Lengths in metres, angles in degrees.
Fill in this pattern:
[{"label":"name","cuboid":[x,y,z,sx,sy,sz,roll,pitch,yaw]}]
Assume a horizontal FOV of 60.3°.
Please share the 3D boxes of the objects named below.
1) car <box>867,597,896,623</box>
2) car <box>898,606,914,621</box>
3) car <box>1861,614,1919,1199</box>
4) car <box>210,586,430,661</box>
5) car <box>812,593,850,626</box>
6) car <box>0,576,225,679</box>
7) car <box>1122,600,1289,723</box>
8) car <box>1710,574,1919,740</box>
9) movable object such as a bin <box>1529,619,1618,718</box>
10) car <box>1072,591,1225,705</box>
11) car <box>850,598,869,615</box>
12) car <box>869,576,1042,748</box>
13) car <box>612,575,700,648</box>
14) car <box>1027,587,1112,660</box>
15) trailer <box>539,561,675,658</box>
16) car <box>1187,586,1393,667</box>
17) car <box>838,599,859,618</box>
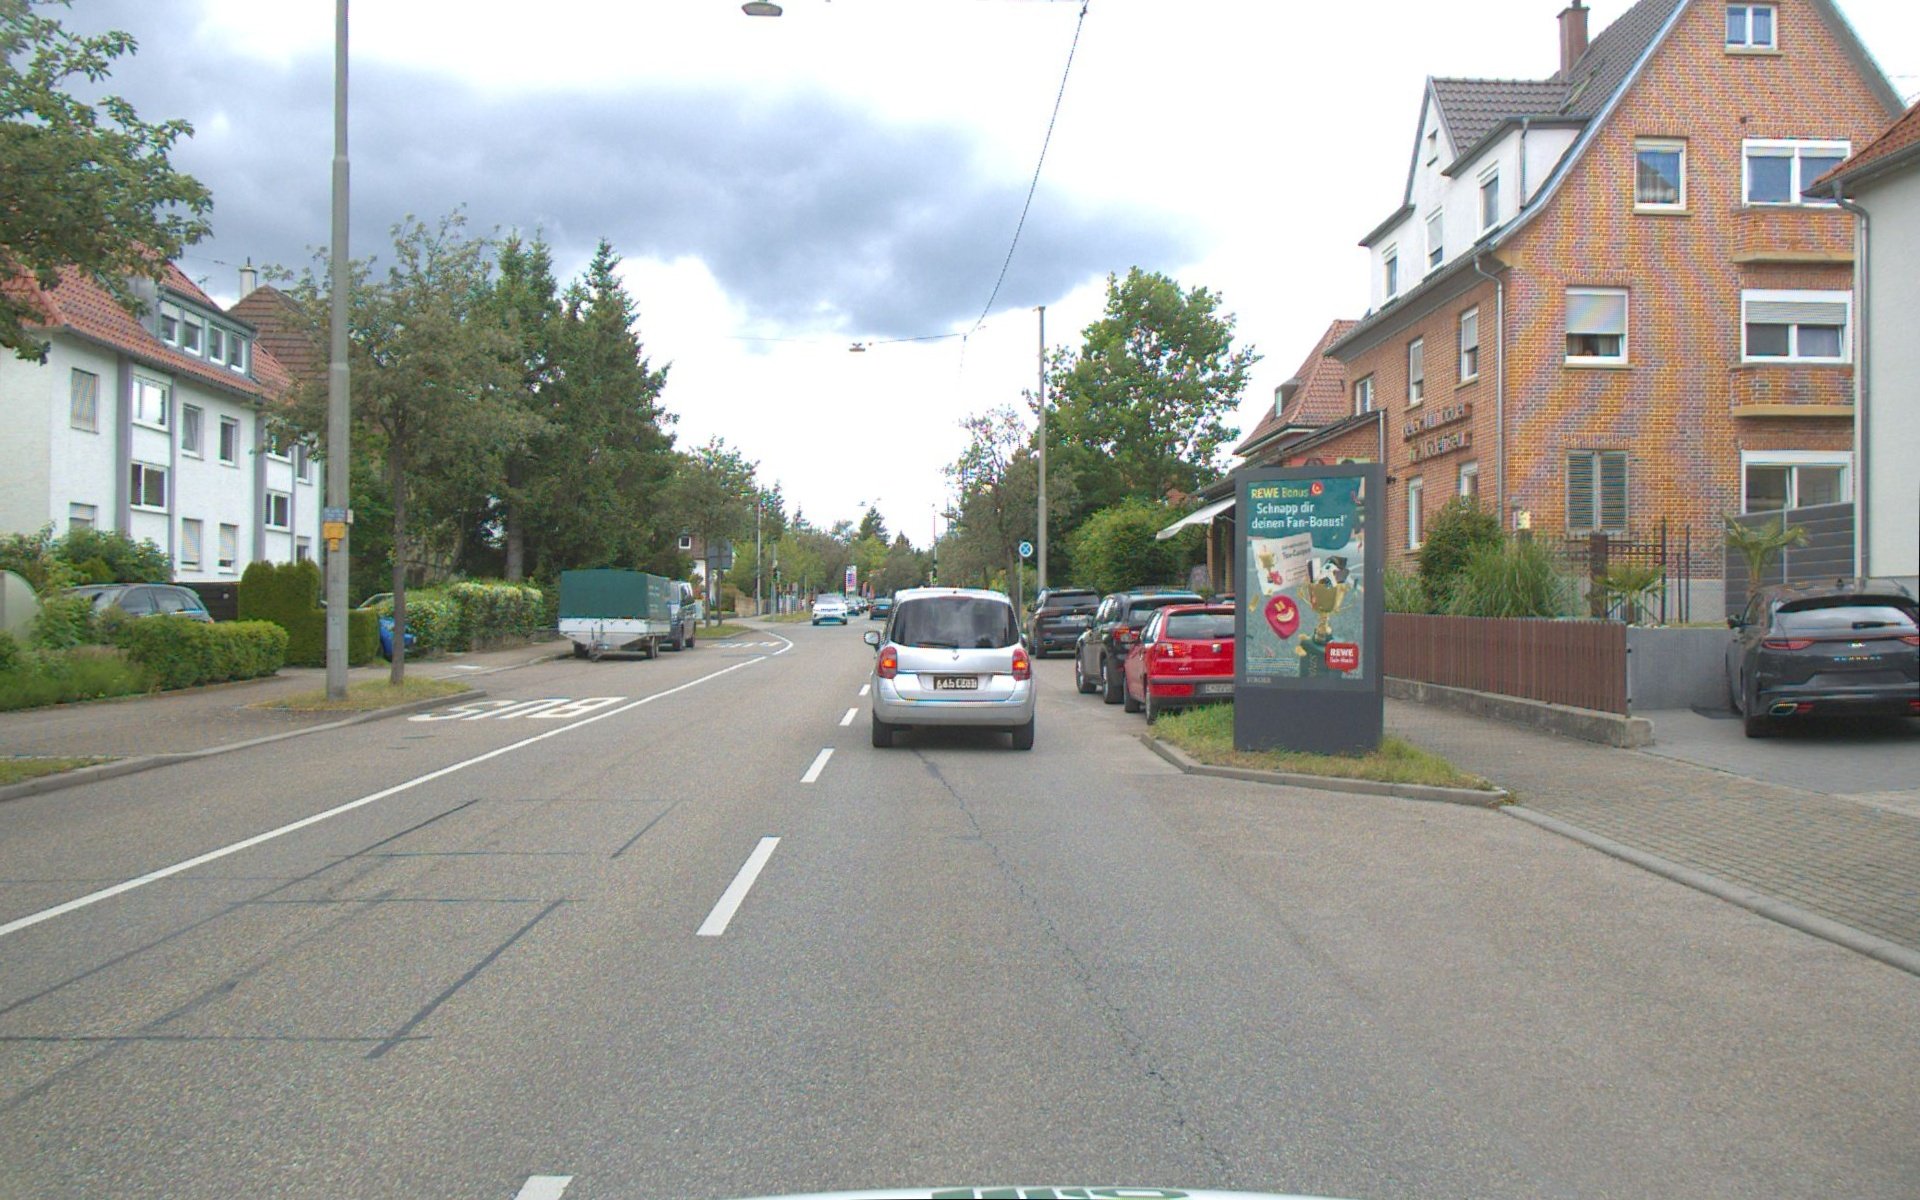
[{"label":"car","cuboid":[-5.123,0.657,108.046,1.792,1.705,3.573,1,-1,-1]},{"label":"car","cuboid":[-6.084,1.568,187.828,1.792,1.705,3.573,1,-1,-1]},{"label":"car","cuboid":[3.093,0.717,2.158,1.616,1.407,3.999,1,-1,-1]},{"label":"car","cuboid":[-13.078,0.498,33.997,3.916,1.361,1.573,2,-2,-12]},{"label":"car","cuboid":[-6.876,0.540,88.149,1.869,1.646,3.994,2,-1,-6]},{"label":"car","cuboid":[-13.338,0.432,25.788,1.838,1.442,4.000,1,-1,1]},{"label":"car","cuboid":[3.029,0.721,21.052,1.628,1.417,3.668,0,0,1]},{"label":"car","cuboid":[8.646,0.492,16.507,1.781,1.405,4.480,-3,-1,21]},{"label":"movable object such as a bin","cuboid":[7.149,0.789,19.294,0.760,1.123,0.691,0,0,-2]},{"label":"car","cuboid":[2.809,0.680,25.444,1.629,1.592,4.095,1,0,-4]},{"label":"car","cuboid":[-9.307,0.635,153.216,1.688,1.436,3.996,2,-1,-5]},{"label":"car","cuboid":[-0.060,0.635,17.773,1.597,1.584,3.999,2,-1,-1]},{"label":"car","cuboid":[-8.786,0.375,48.106,1.850,1.956,4.558,2,-1,-3]},{"label":"car","cuboid":[2.759,0.625,42.440,1.776,1.773,3.998,0,-1,-2]},{"label":"trailer","cuboid":[-8.575,0.284,40.733,2.266,2.123,5.869,2,-1,-3]},{"label":"car","cuboid":[7.028,0.560,35.410,3.914,1.523,1.806,-2,0,-10]},{"label":"car","cuboid":[-9.218,0.686,136.374,1.688,1.436,3.996,2,-1,-5]}]
